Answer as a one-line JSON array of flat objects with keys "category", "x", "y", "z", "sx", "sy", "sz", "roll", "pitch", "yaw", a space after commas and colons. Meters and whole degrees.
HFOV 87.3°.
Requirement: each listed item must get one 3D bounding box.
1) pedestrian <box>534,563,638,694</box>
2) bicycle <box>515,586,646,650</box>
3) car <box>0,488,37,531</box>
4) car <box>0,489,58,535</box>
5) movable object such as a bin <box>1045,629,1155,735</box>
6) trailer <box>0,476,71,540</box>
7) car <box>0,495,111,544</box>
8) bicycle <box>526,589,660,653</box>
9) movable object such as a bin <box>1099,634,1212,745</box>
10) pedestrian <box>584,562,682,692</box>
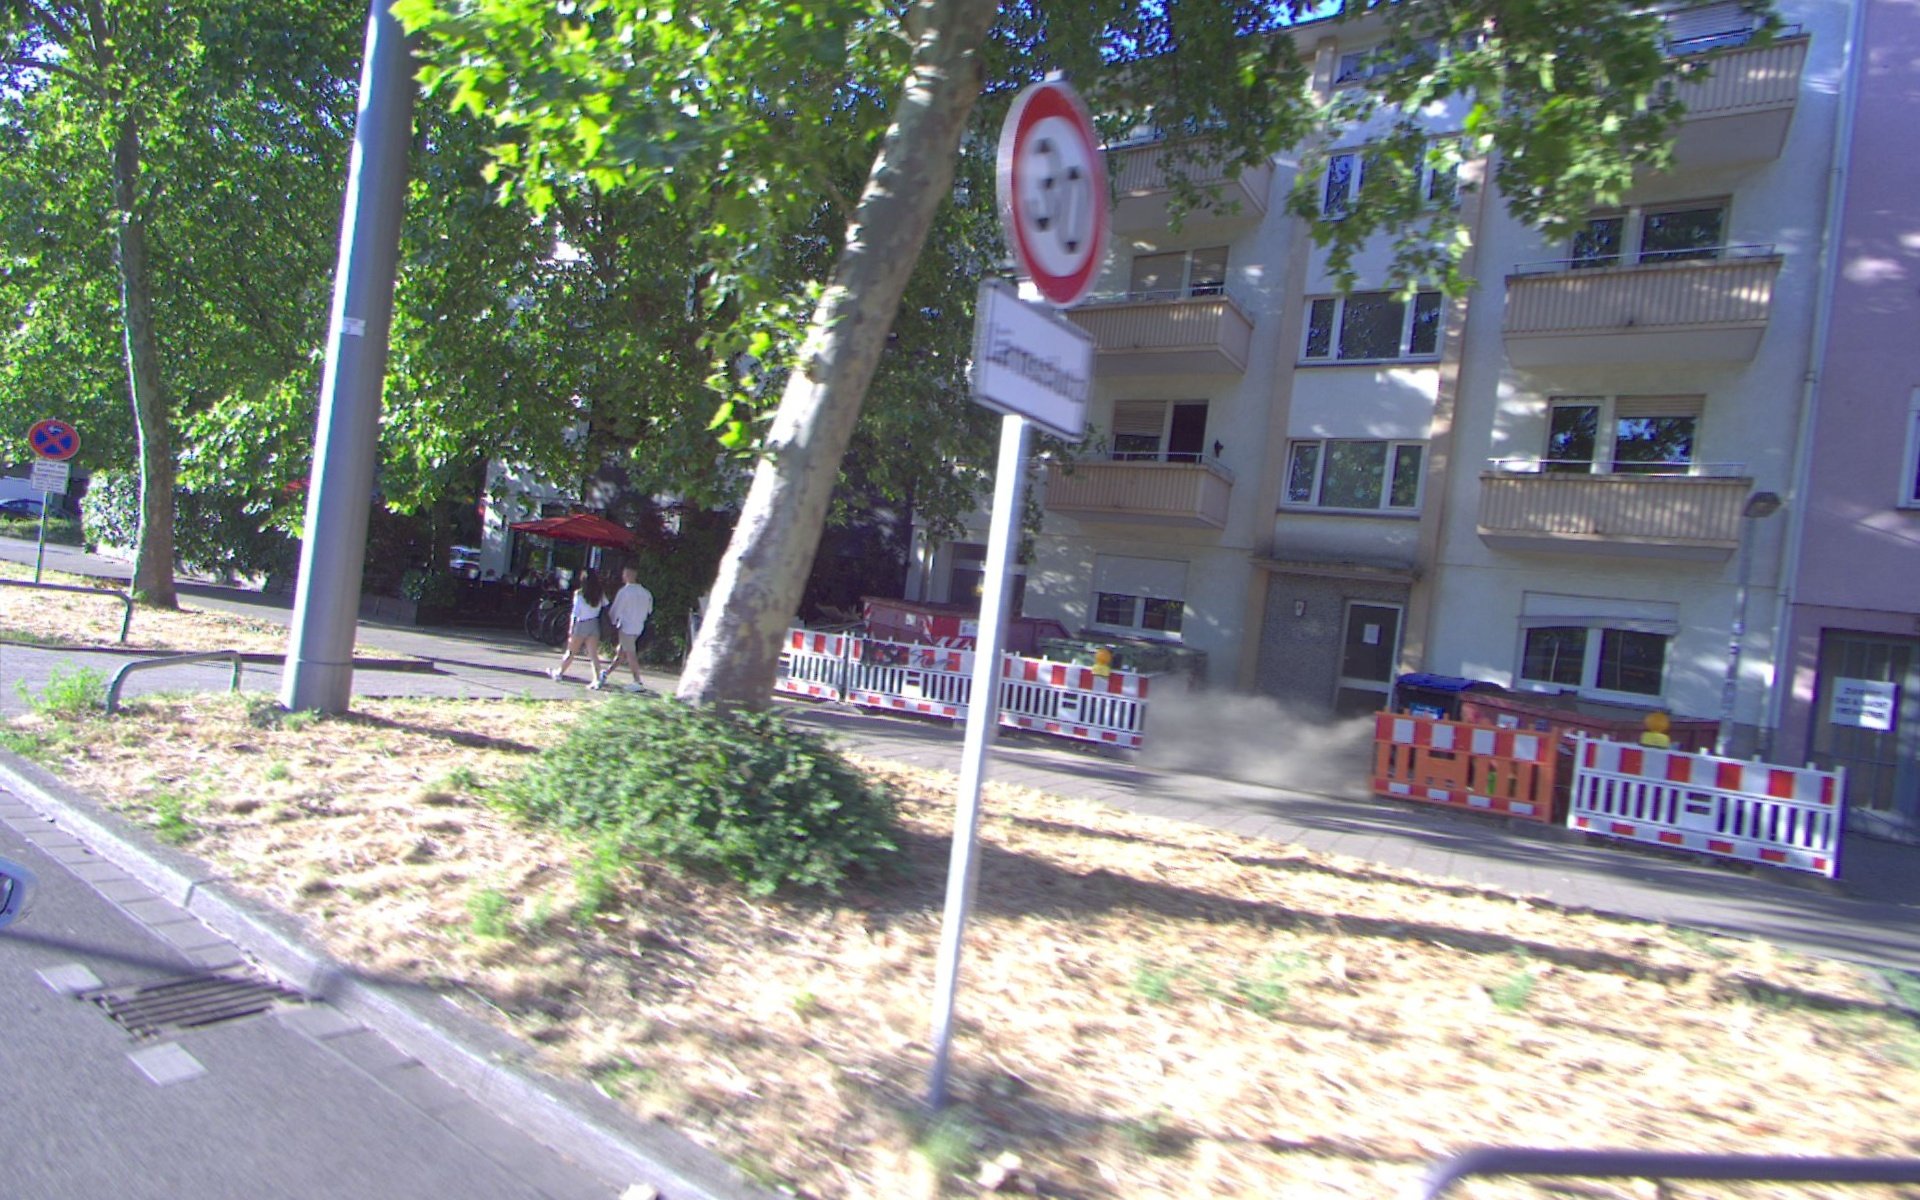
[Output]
[{"category": "pedestrian", "x": -4.937, "y": 0.387, "z": 13.304, "sx": 0.802, "sy": 1.591, "sz": 0.791, "roll": 7, "pitch": 0, "yaw": 31}, {"category": "bicycle", "x": -7.690, "y": 0.395, "z": 20.487, "sx": 0.655, "sy": 1.036, "sz": 2.371, "roll": 7, "pitch": -2, "yaw": 42}, {"category": "car", "x": -41.818, "y": -4.051, "z": 42.438, "sx": 1.679, "sy": 1.657, "sz": 3.922, "roll": 6, "pitch": -1, "yaw": 35}, {"category": "car", "x": -39.841, "y": -3.784, "z": 41.234, "sx": 1.679, "sy": 1.656, "sz": 3.922, "roll": 6, "pitch": -1, "yaw": 35}, {"category": "movable object such as a bin", "x": 2.167, "y": 1.262, "z": 15.572, "sx": 1.284, "sy": 1.452, "sz": 0.834, "roll": 7, "pitch": 0, "yaw": -29}, {"category": "trailer", "x": -35.843, "y": -3.565, "z": 37.879, "sx": 1.849, "sy": 2.094, "sz": 3.066, "roll": 7, "pitch": -1, "yaw": 36}, {"category": "car", "x": -33.623, "y": -2.991, "z": 36.515, "sx": 1.680, "sy": 1.352, "sz": 3.921, "roll": 6, "pitch": -1, "yaw": 36}, {"category": "bicycle", "x": -7.146, "y": 0.432, "z": 19.701, "sx": 0.654, "sy": 1.036, "sz": 2.371, "roll": 6, "pitch": -1, "yaw": 40}, {"category": "movable object such as a bin", "x": 2.891, "y": 1.328, "z": 14.861, "sx": 1.287, "sy": 1.452, "sz": 0.832, "roll": 7, "pitch": 0, "yaw": -35}, {"category": "pedestrian", "x": -4.556, "y": 0.386, "z": 14.021, "sx": 0.802, "sy": 1.687, "sz": 0.791, "roll": 7, "pitch": 0, "yaw": 31}]
